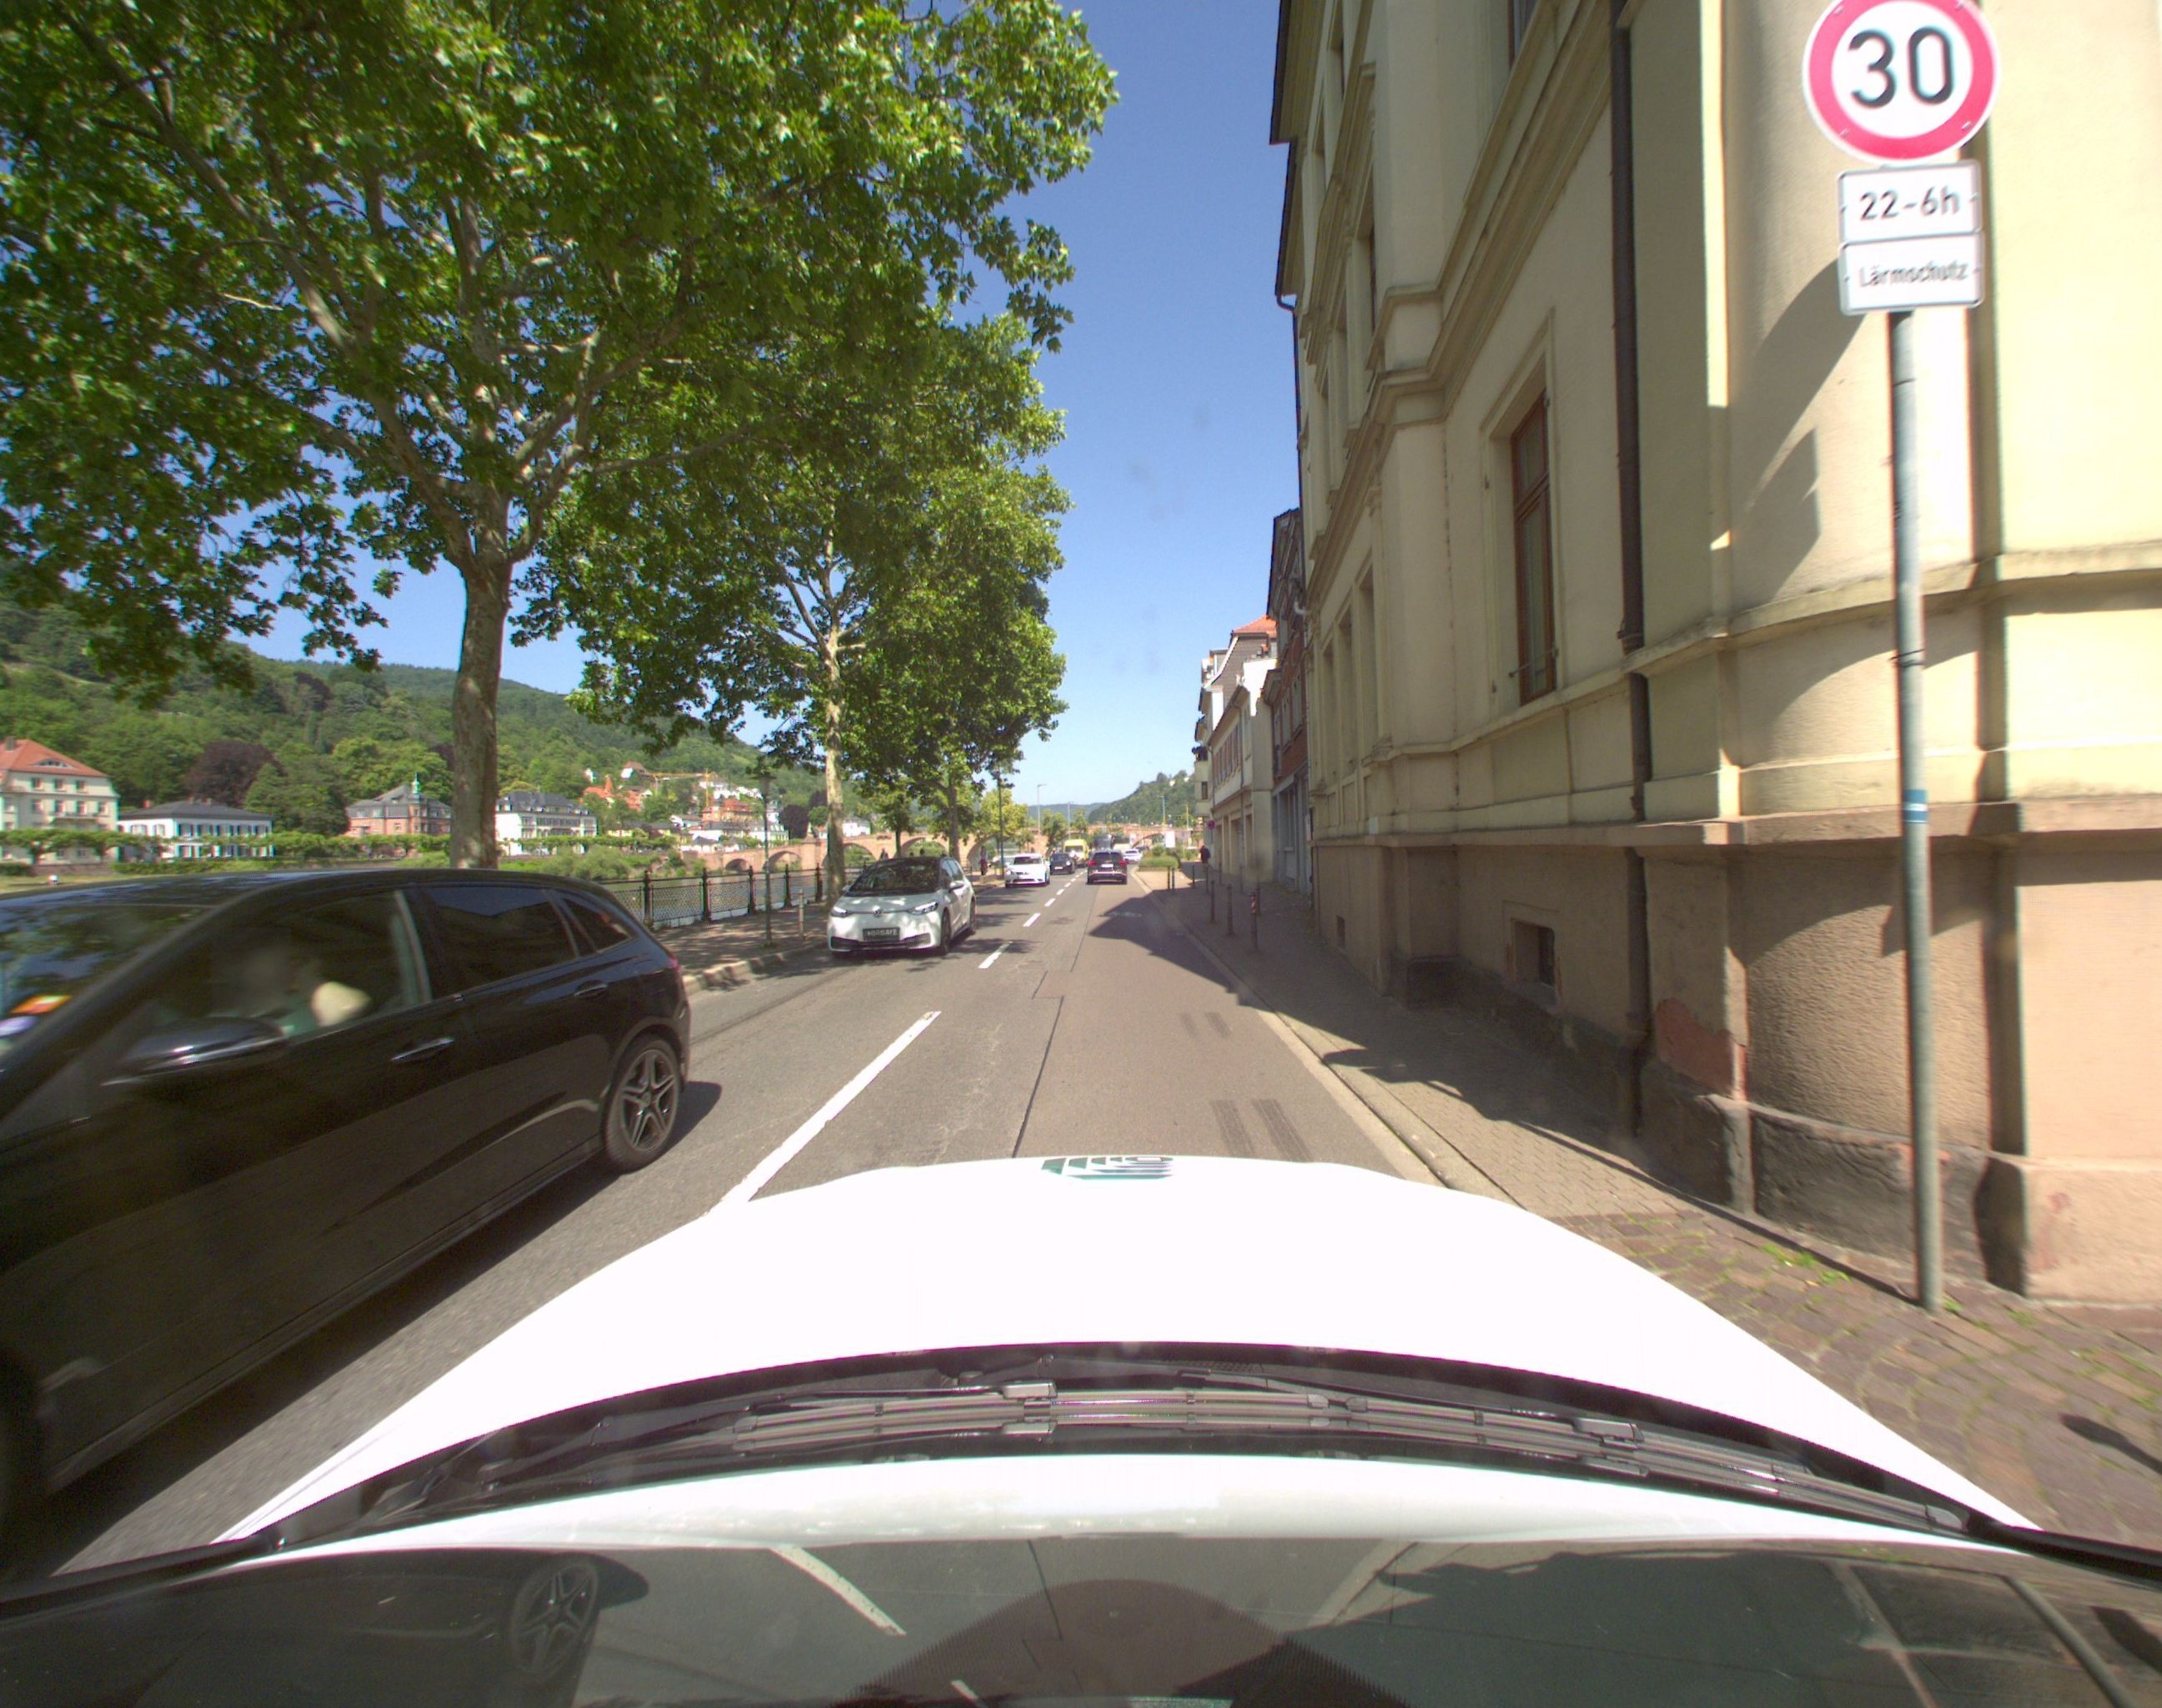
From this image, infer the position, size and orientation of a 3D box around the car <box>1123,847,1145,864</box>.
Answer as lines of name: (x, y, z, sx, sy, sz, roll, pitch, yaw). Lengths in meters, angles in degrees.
car: (5.430, 0.154, 83.123, 1.917, 1.553, 4.840, -3, 0, 6)

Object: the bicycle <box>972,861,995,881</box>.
bicycle: (-5.101, 0.877, 42.743, 0.751, 0.979, 1.956, -2, 1, 5)

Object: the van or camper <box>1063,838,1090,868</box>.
van or camper: (-0.329, -0.100, 75.531, 2.079, 2.557, 7.096, -1, 0, 3)

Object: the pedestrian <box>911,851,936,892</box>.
pedestrian: (-6.135, 0.676, 31.707, 0.759, 1.586, 0.696, -2, 0, 0)

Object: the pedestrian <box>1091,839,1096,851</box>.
pedestrian: (1.871, -1.344, 118.168, 0.616, 1.780, 0.664, -1, 0, 9)

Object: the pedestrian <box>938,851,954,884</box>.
pedestrian: (-6.969, 0.699, 42.017, 0.654, 1.682, 0.758, 0, 0, 1)

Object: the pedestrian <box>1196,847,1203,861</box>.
pedestrian: (13.582, -0.038, 93.598, 0.757, 1.595, 0.698, -1, 0, 9)

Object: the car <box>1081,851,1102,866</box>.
car: (1.221, 0.468, 89.539, 1.804, 1.428, 4.319, -3, 1, 7)

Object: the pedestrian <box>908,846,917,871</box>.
pedestrian: (-10.846, 0.266, 52.407, 0.412, 1.597, 0.452, -2, 0, 9)

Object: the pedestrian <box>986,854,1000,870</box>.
pedestrian: (-7.554, 0.693, 69.798, 0.931, 1.281, 0.852, -2, 0, 10)

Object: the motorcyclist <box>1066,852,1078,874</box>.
motorcyclist: (-0.661, 0.690, 62.017, 0.876, 1.583, 1.025, -2, 0, 0)

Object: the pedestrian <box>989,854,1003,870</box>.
pedestrian: (-7.393, 0.689, 70.699, 0.931, 1.281, 0.852, -2, 0, 10)

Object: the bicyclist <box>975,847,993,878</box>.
bicyclist: (-5.104, 0.422, 42.837, 0.716, 1.583, 1.090, -2, 0, 3)

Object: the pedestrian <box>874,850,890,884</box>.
pedestrian: (-11.647, 0.771, 47.687, 0.691, 1.945, 0.887, -2, 0, 1)

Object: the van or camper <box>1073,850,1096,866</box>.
van or camper: (0.387, 0.389, 82.989, 1.985, 1.454, 4.687, -2, 0, 4)

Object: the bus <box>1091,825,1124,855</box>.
bus: (3.631, -1.678, 107.104, 2.615, 3.564, 13.016, -2, -1, 9)

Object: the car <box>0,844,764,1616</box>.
car: (-2.956, 0.795, 2.840, 1.694, 1.518, 4.408, -4, 0, 3)

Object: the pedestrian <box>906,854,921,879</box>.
pedestrian: (-10.912, 0.814, 53.133, 0.689, 1.616, 0.665, -2, 0, 9)

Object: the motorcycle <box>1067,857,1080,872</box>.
motorcycle: (-0.598, 0.801, 61.898, 0.881, 1.077, 2.326, -2, 0, -2)

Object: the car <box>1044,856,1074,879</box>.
car: (-1.458, 0.869, 54.413, 1.695, 1.458, 4.004, -2, 0, 2)

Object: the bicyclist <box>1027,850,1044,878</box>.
bicyclist: (-2.512, 0.537, 44.993, 0.763, 1.531, 1.026, 0, 2, 3)

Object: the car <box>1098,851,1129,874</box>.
car: (2.323, 0.566, 56.860, 1.918, 1.461, 4.838, -2, 0, 4)

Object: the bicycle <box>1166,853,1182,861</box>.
bicycle: (10.223, 0.343, 89.609, 1.801, 0.878, 0.503, 0, 1, 5)

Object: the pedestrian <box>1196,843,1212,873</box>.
pedestrian: (7.299, 0.227, 48.201, 0.758, 1.713, 0.697, -5, -1, 4)

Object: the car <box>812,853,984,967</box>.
car: (-2.905, 0.809, 13.958, 1.728, 1.518, 4.407, -3, 1, 2)

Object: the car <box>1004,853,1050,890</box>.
car: (-2.340, 0.720, 36.196, 1.695, 1.445, 4.092, -1, 1, 1)

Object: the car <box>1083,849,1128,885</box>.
car: (1.147, 0.600, 37.695, 1.919, 1.553, 4.833, 0, -1, 2)
